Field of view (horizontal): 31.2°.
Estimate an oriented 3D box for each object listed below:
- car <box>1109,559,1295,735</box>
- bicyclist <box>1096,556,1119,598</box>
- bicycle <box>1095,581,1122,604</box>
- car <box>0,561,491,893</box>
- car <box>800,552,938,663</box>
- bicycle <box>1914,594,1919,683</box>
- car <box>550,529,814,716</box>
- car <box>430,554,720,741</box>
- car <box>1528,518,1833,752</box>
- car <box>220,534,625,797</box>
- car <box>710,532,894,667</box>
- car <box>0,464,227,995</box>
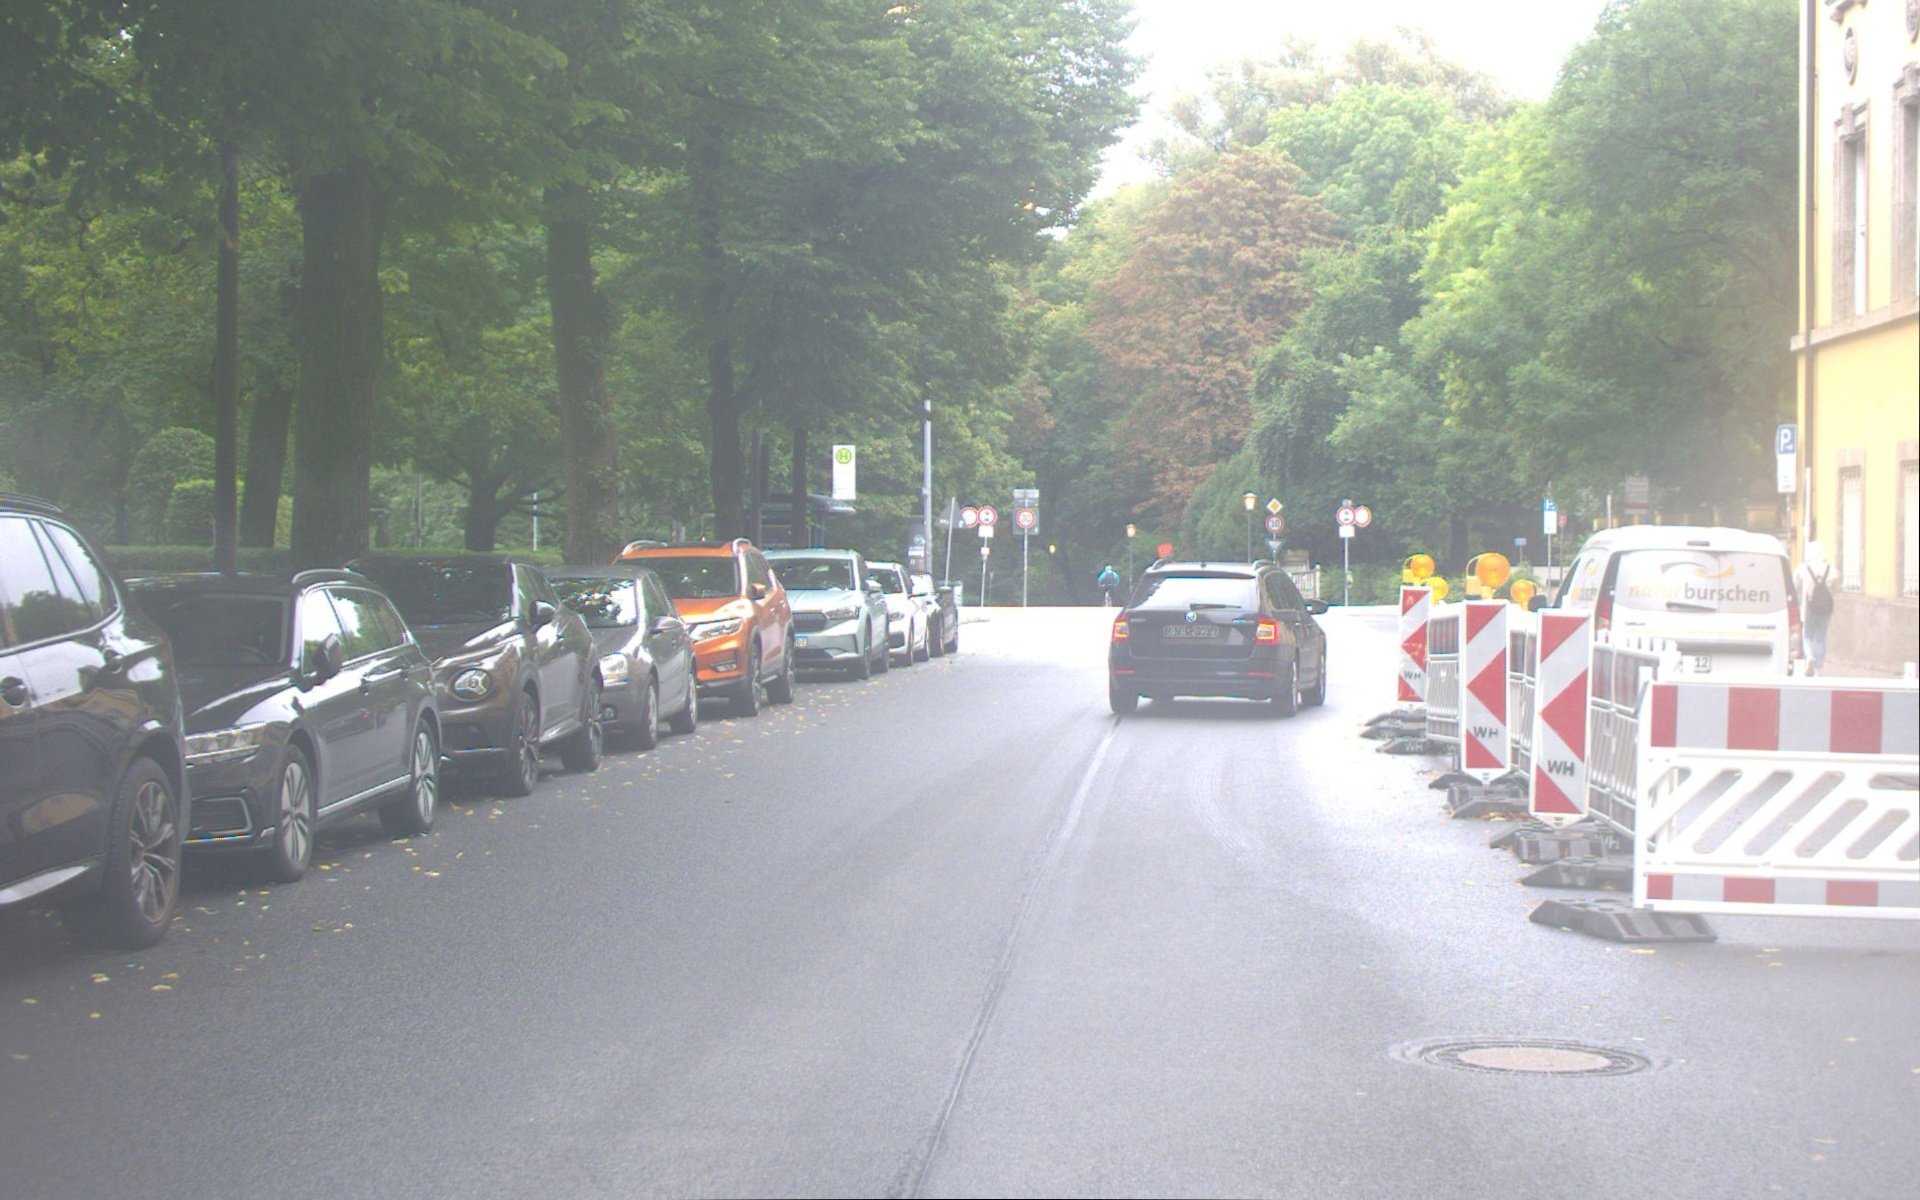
[{"bbox_3d":[2.388,0.407,33.215,1.578,1.578,4.043,1,1,7],"label":"car"},{"bbox_3d":[5.256,-0.811,122.396,0.680,1.499,0.901,0,1,-5],"label":"bicyclist"},{"bbox_3d":[5.266,-0.269,122.324,0.679,0.827,2.110,1,0,-5],"label":"bicycle"},{"bbox_3d":[-3.754,0.535,17.512,1.719,1.446,4.694,1,1,5],"label":"car"},{"bbox_3d":[-1.250,0.085,48.759,1.577,1.492,4.199,1,1,4],"label":"car"},{"bbox_3d":[11.071,0.437,37.827,0.680,1.003,2.057,1,0,4],"label":"bicycle"},{"bbox_3d":[-2.698,0.189,34.389,1.873,1.722,4.640,1,1,5],"label":"car"},{"bbox_3d":[-3.125,0.335,28.720,1.727,1.418,4.251,1,1,3],"label":"car"},{"bbox_3d":[5.783,0.267,28.057,1.740,1.744,4.355,1,0,3],"label":"car"},{"bbox_3d":[-3.481,0.359,23.073,1.786,1.569,4.486,1,1,3],"label":"car"},{"bbox_3d":[-1.932,-0.029,43.256,1.815,1.596,4.513,1,1,4],"label":"car"},{"bbox_3d":[-4.227,0.445,11.815,1.994,1.791,4.919,-1,0,5],"label":"car"}]
